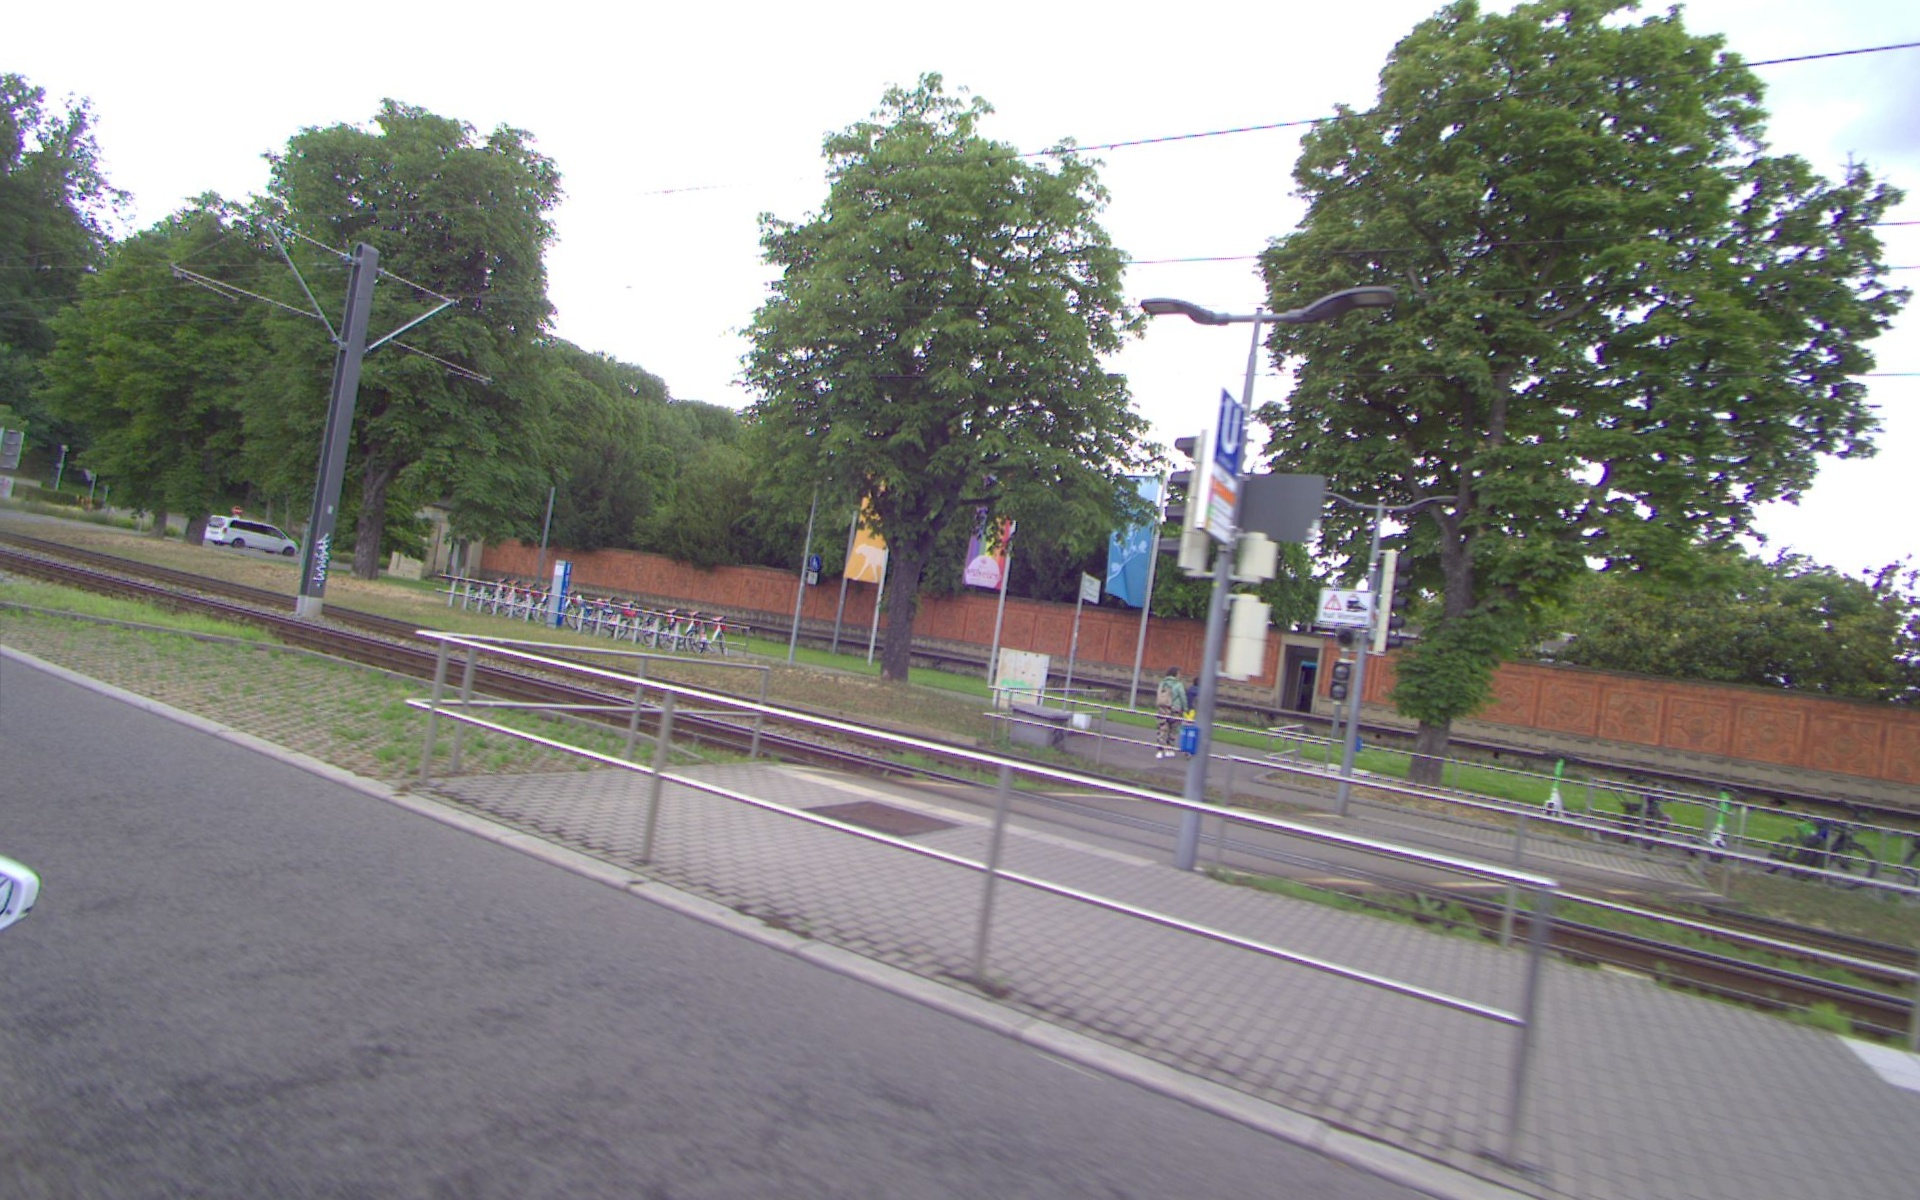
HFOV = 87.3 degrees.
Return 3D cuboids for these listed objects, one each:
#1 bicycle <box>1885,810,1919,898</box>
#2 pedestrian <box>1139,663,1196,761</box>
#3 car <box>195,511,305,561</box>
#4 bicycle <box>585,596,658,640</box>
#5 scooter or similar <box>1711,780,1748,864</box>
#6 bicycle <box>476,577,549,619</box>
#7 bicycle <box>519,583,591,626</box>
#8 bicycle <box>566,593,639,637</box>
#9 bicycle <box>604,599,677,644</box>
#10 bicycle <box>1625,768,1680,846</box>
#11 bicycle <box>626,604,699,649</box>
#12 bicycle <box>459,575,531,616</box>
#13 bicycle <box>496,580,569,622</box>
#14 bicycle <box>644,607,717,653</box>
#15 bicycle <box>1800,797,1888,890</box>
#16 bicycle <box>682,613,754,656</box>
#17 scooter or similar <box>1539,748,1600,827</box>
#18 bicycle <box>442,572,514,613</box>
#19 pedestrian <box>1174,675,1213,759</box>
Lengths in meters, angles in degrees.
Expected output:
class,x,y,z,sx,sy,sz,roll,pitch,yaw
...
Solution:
class,x,y,z,sx,sy,sz,roll,pitch,yaw
bicycle,13.425,3.537,13.862,0.524,1.150,1.880,7,-5,31
pedestrian,3.735,2.001,18.164,0.763,1.627,0.836,8,-1,9
car,-44.817,-4.028,63.665,2.167,2.034,5.160,8,-4,22
bicycle,-9.310,0.515,27.731,0.522,0.986,1.917,8,-2,31
scooter or similar,11.509,3.314,15.051,0.328,1.150,1.277,6,-6,38
bicycle,-13.248,-0.035,29.822,0.522,0.986,1.917,8,-2,31
bicycle,-11.778,0.153,29.344,0.522,0.986,1.917,8,-2,31
bicycle,-9.968,0.425,28.119,0.522,0.986,1.917,8,-2,31
bicycle,-8.675,0.590,27.381,0.522,0.986,1.917,8,-2,31
bicycle,10.630,3.177,15.483,0.475,1.043,1.770,7,-6,31
bicycle,-7.916,0.728,26.870,0.522,0.986,1.917,8,-2,31
bicycle,-14.028,-0.118,30.390,0.522,0.986,1.917,8,-2,31
bicycle,-12.555,0.052,29.596,0.522,0.986,1.917,8,-2,31
bicycle,-7.351,0.799,26.582,0.522,0.986,1.917,8,-2,31
bicycle,12.731,3.469,14.526,0.524,1.150,1.880,7,-5,31
bicycle,-6.289,0.911,26.233,0.522,0.906,1.917,8,-2,31
scooter or similar,10.069,3.108,16.608,1.158,1.150,0.330,13,-5,-35
bicycle,-14.777,-0.202,30.902,0.522,0.986,1.917,8,-2,31
pedestrian,4.464,2.226,19.283,0.506,1.519,0.499,8,-1,9
